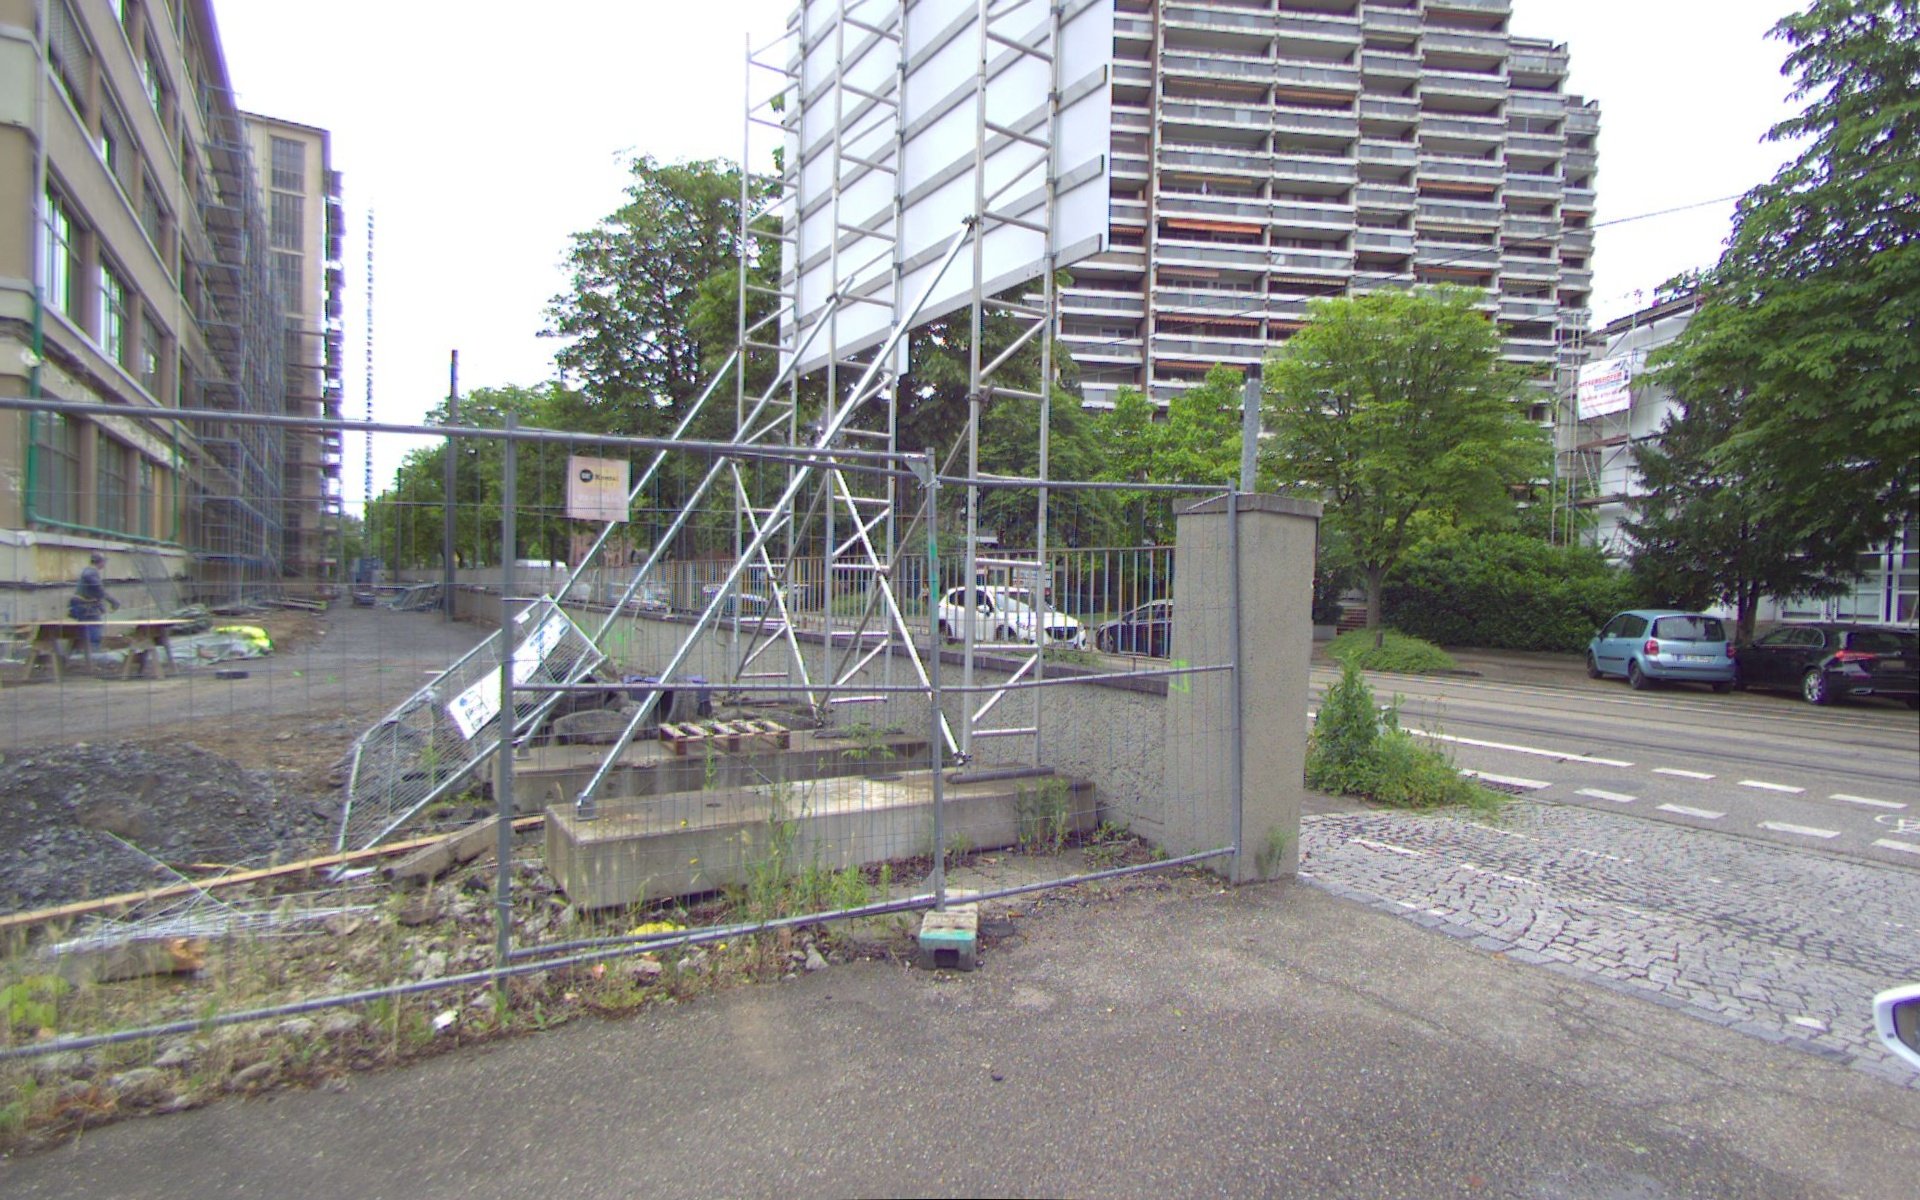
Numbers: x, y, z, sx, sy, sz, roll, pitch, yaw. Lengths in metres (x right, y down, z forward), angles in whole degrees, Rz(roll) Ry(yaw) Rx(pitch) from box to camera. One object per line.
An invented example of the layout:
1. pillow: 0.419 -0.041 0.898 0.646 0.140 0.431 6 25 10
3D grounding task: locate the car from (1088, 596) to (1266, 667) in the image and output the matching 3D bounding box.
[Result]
1. car: 5.229 0.727 24.702 1.805 1.510 4.215 1 0 -34

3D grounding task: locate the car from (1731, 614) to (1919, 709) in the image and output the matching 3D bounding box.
1. car: 15.975 1.058 18.483 1.586 1.531 3.339 2 0 14

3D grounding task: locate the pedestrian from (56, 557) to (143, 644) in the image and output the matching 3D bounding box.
1. pedestrian: -15.047 0.006 17.570 0.916 1.457 0.979 2 0 38

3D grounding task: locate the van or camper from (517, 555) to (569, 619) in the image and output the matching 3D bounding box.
1. van or camper: -19.404 -0.583 46.686 1.974 2.789 3.973 1 0 -26

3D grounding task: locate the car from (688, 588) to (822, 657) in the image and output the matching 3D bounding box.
1. car: -4.931 0.487 23.777 1.813 1.437 3.965 2 0 -32

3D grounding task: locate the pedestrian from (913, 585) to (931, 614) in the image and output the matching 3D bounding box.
1. pedestrian: -2.067 -0.026 54.885 0.838 1.548 0.515 1 1 -44

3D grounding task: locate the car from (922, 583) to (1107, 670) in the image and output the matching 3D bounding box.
1. car: 1.114 0.508 22.976 1.978 1.726 4.560 0 1 -32

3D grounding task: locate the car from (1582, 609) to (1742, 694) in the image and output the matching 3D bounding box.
1. car: 14.534 0.991 20.996 1.586 1.557 3.339 2 0 14

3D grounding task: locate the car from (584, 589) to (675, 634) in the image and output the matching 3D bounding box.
1. car: -10.901 0.359 32.993 1.978 1.328 3.965 1 1 -32
